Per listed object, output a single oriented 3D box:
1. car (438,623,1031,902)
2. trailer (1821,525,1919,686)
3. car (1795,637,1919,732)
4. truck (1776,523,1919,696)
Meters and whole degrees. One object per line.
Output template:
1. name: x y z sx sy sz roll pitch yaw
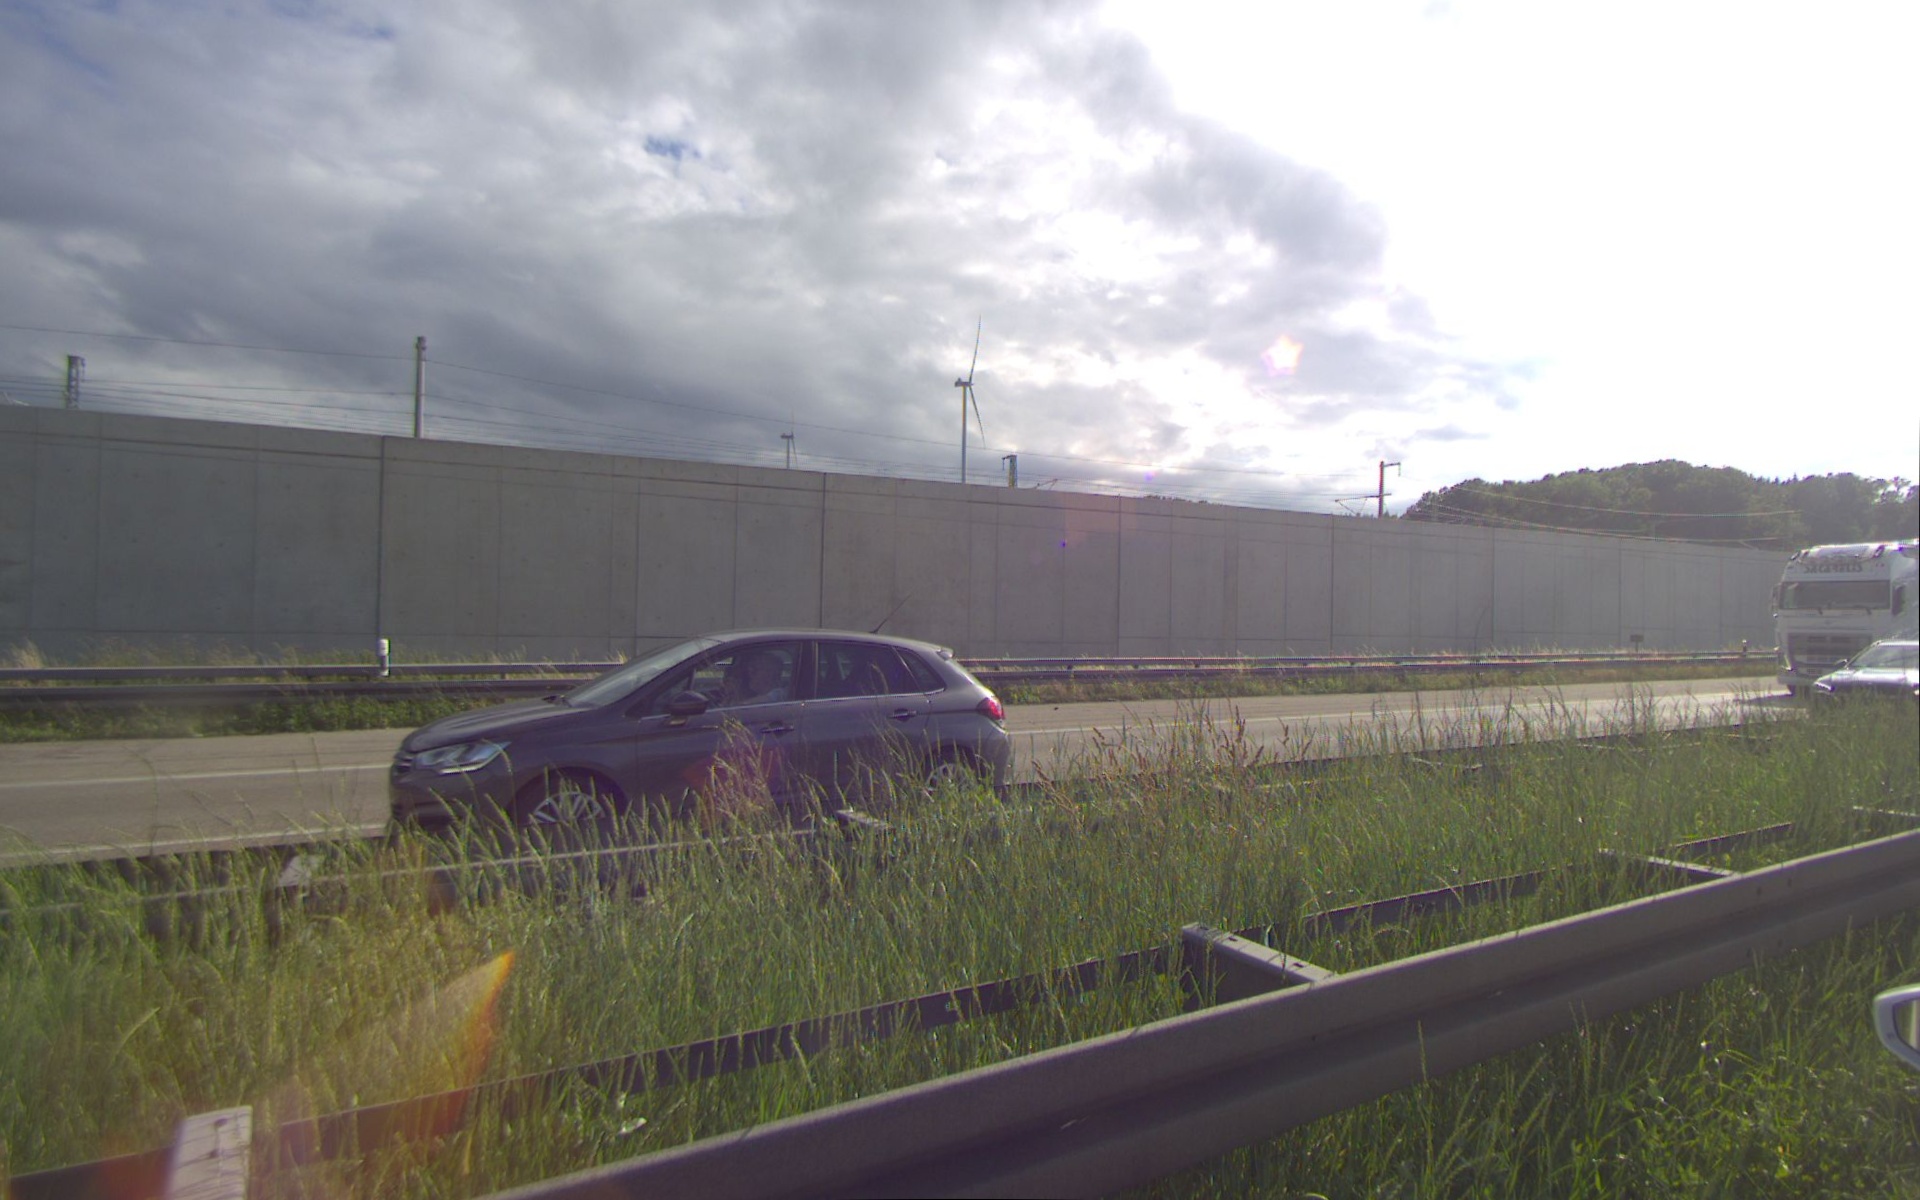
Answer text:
1. car: -1.555 0.961 7.182 3.784 1.499 1.761 2 -1 -30
2. trailer: 30.363 0.349 30.481 13.050 4.237 2.378 2 -2 -31
3. car: 15.824 1.344 16.658 4.183 1.375 1.733 2 -1 -31
4. truck: 24.803 0.341 27.201 5.864 4.236 2.369 2 -2 -31
